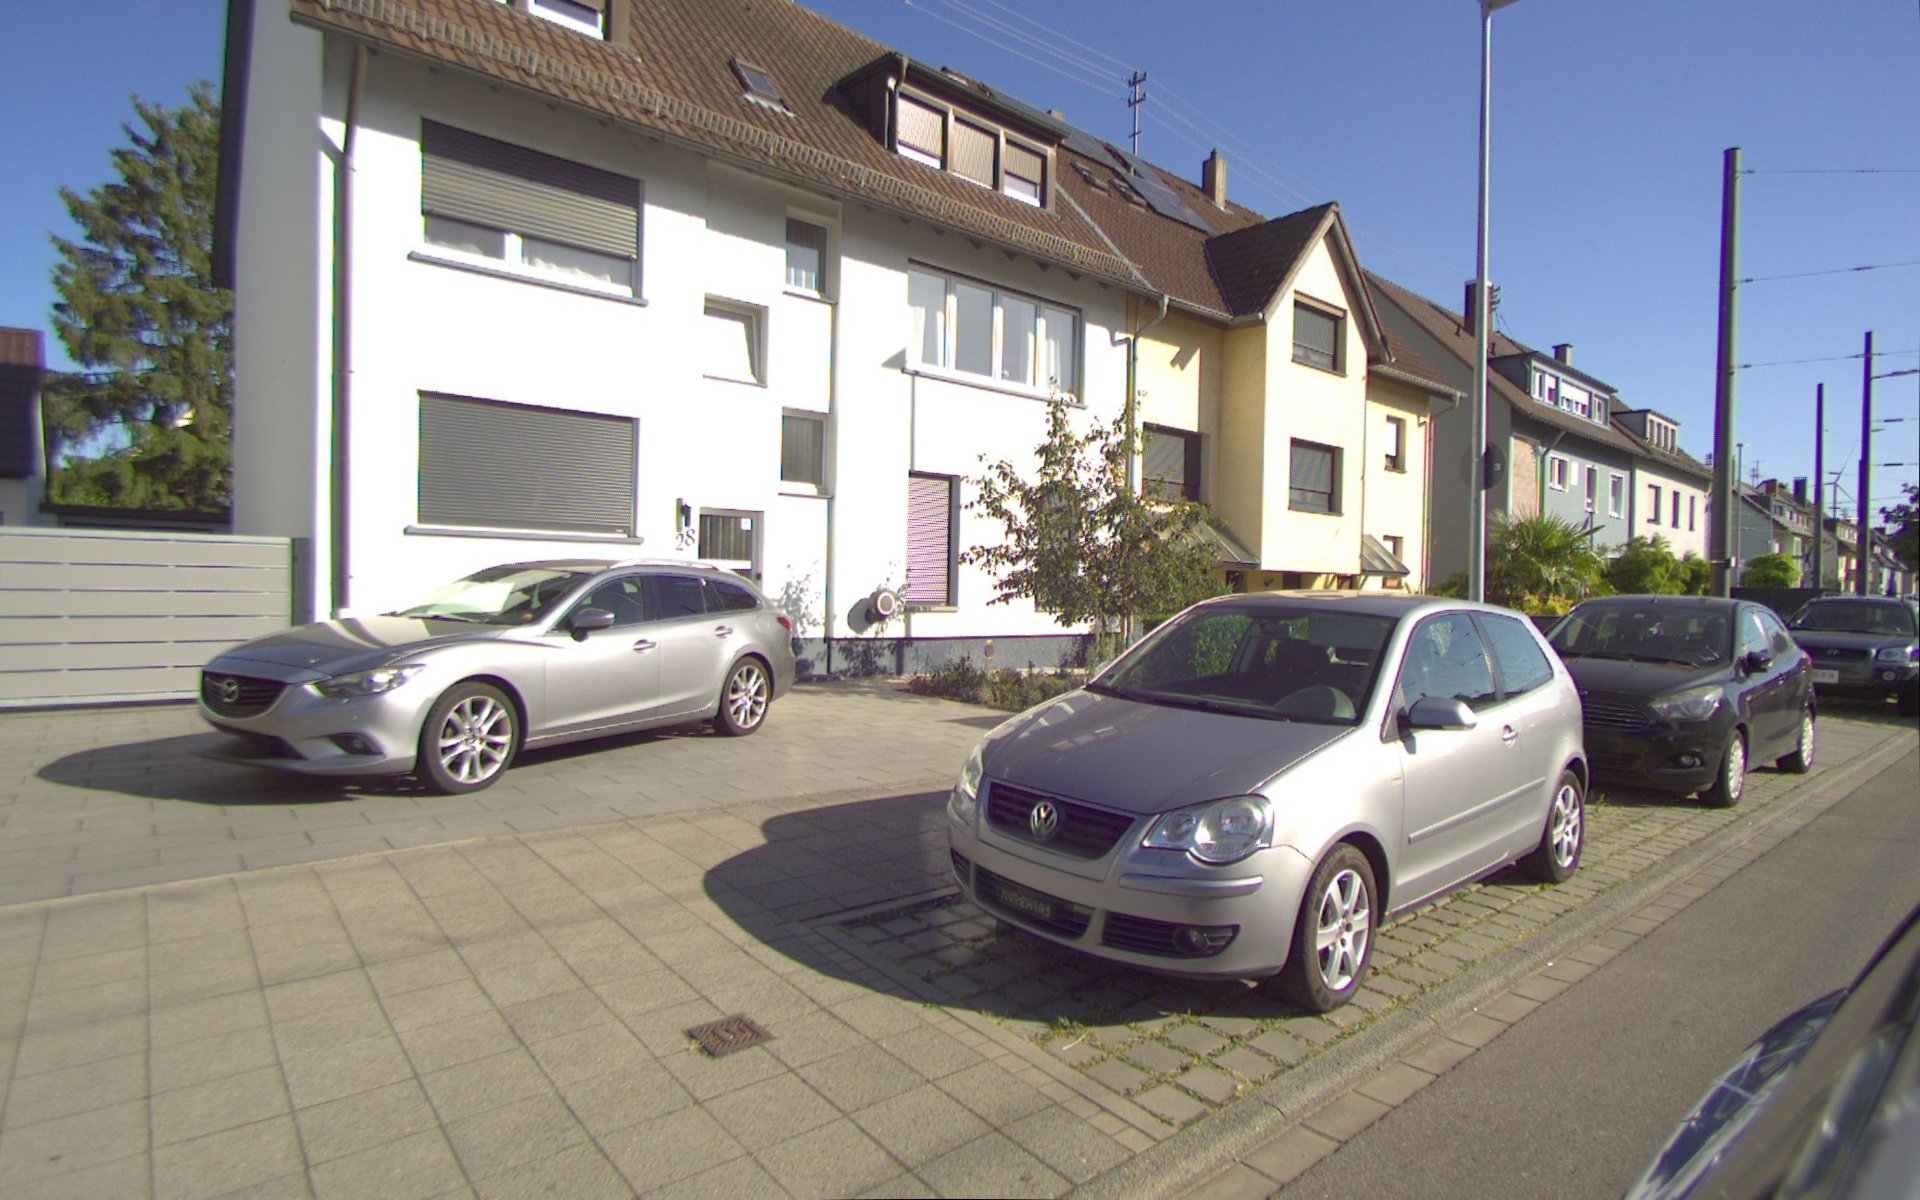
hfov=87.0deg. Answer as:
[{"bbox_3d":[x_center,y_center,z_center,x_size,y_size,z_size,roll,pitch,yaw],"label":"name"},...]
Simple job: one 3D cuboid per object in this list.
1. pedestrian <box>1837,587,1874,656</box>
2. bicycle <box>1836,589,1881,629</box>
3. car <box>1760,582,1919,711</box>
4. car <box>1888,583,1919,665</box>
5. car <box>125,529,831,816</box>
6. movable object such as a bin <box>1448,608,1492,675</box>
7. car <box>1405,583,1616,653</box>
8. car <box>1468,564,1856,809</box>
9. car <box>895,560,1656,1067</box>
[{"bbox_3d":[23.212,0.541,26.224,0.701,1.745,0.584,1,1,-39],"label":"pedestrian"},{"bbox_3d":[23.527,0.217,26.498,1.534,0.991,0.602,0,3,-39],"label":"bicycle"},{"bbox_3d":[13.904,0.608,15.453,4.395,1.680,1.858,0,1,-41],"label":"car"},{"bbox_3d":[24.021,0.564,24.343,4.841,1.859,1.965,0,1,-41],"label":"car"},{"bbox_3d":[-3.129,0.311,7.870,1.979,1.463,4.842,2,2,24],"label":"car"},{"bbox_3d":[8.422,0.689,16.717,0.557,1.076,0.202,-4,-2,44],"label":"movable object such as a bin"},{"bbox_3d":[13.485,0.388,24.978,1.867,1.486,4.173,1,1,-41],"label":"car"},{"bbox_3d":[6.037,0.557,8.560,3.766,1.566,1.671,0,3,-39],"label":"car"},{"bbox_3d":[1.892,0.591,5.045,4.373,1.493,1.618,0,2,-42],"label":"car"}]
